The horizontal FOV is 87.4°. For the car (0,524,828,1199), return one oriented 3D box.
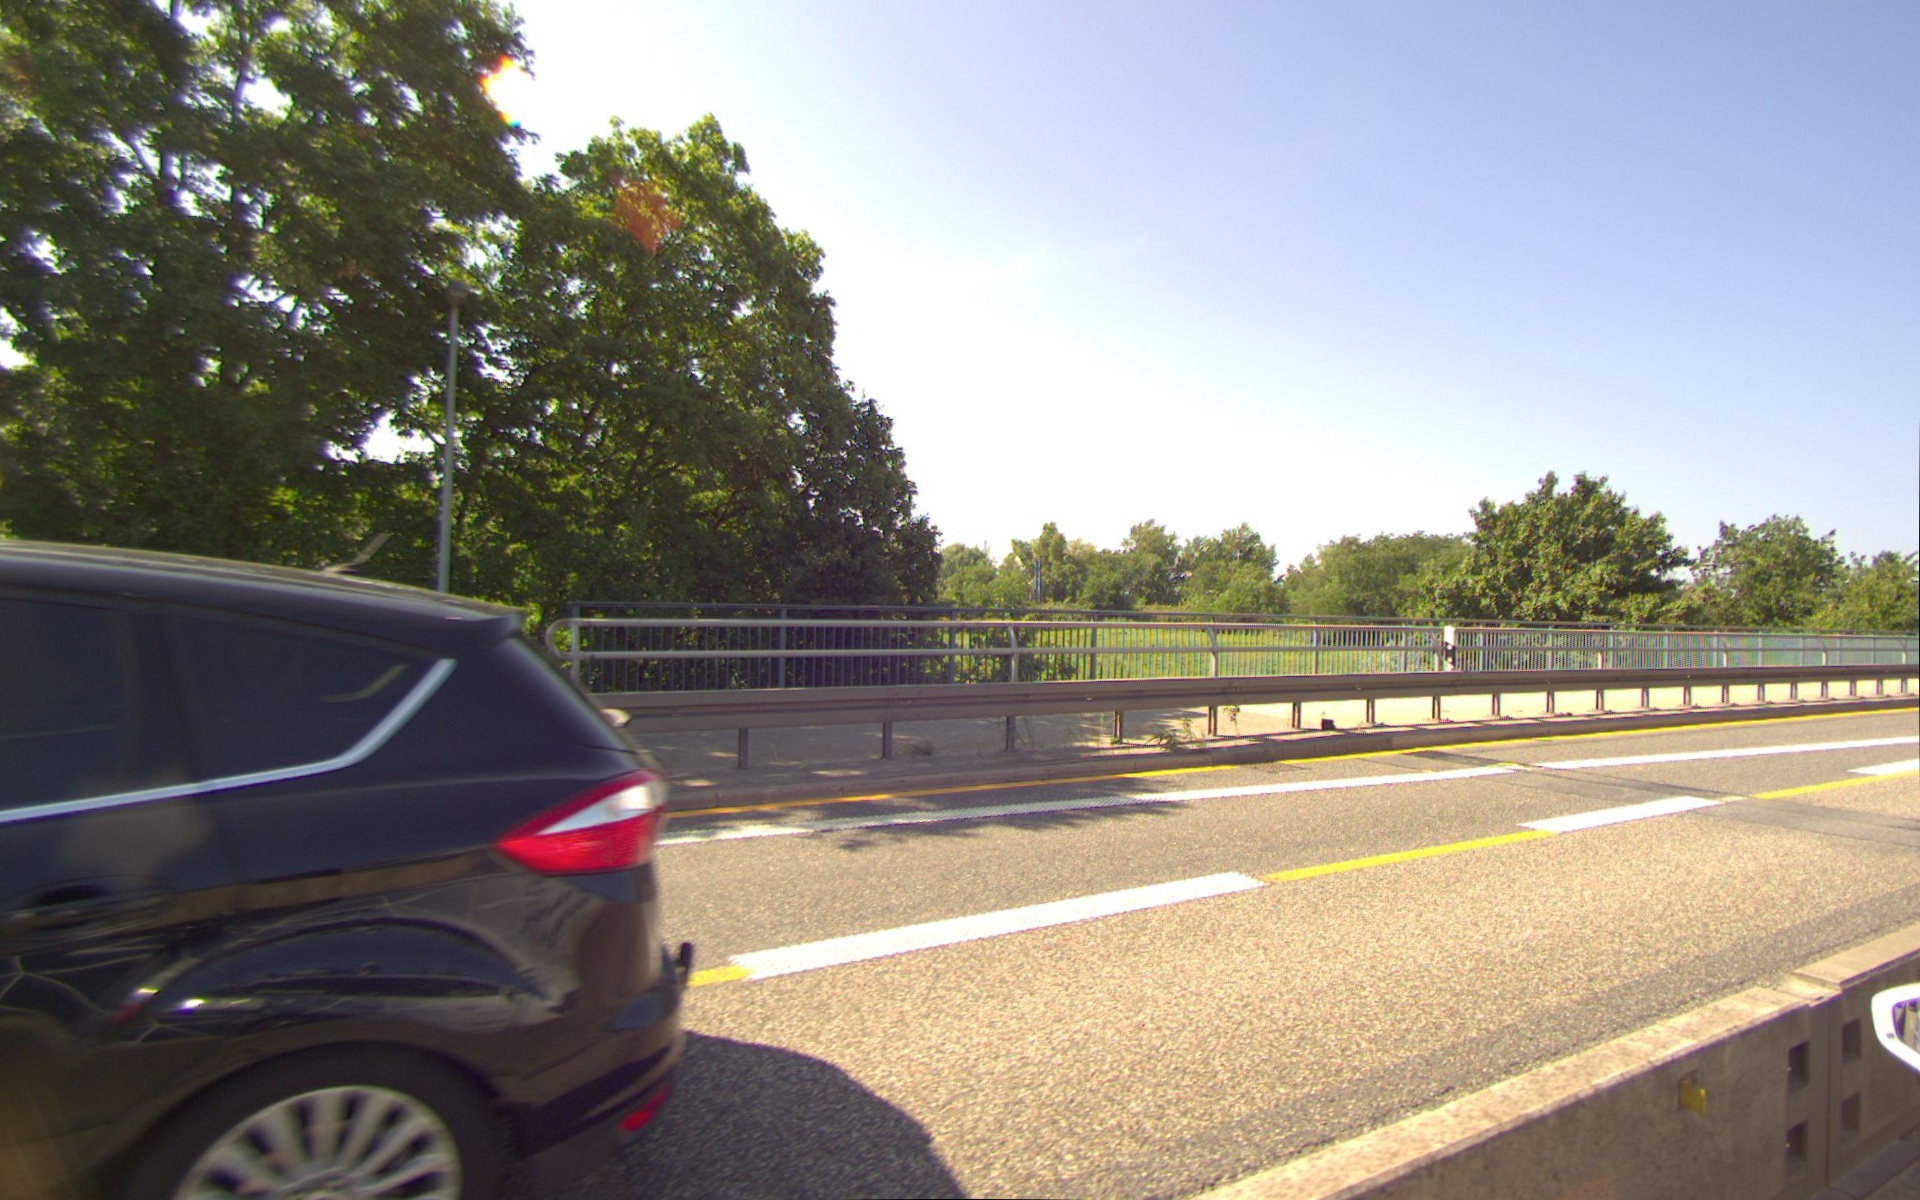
[{"bbox_3d":[-2.422,0.654,2.096,3.895,1.572,1.730,1,-1,-30],"label":"car"}]
